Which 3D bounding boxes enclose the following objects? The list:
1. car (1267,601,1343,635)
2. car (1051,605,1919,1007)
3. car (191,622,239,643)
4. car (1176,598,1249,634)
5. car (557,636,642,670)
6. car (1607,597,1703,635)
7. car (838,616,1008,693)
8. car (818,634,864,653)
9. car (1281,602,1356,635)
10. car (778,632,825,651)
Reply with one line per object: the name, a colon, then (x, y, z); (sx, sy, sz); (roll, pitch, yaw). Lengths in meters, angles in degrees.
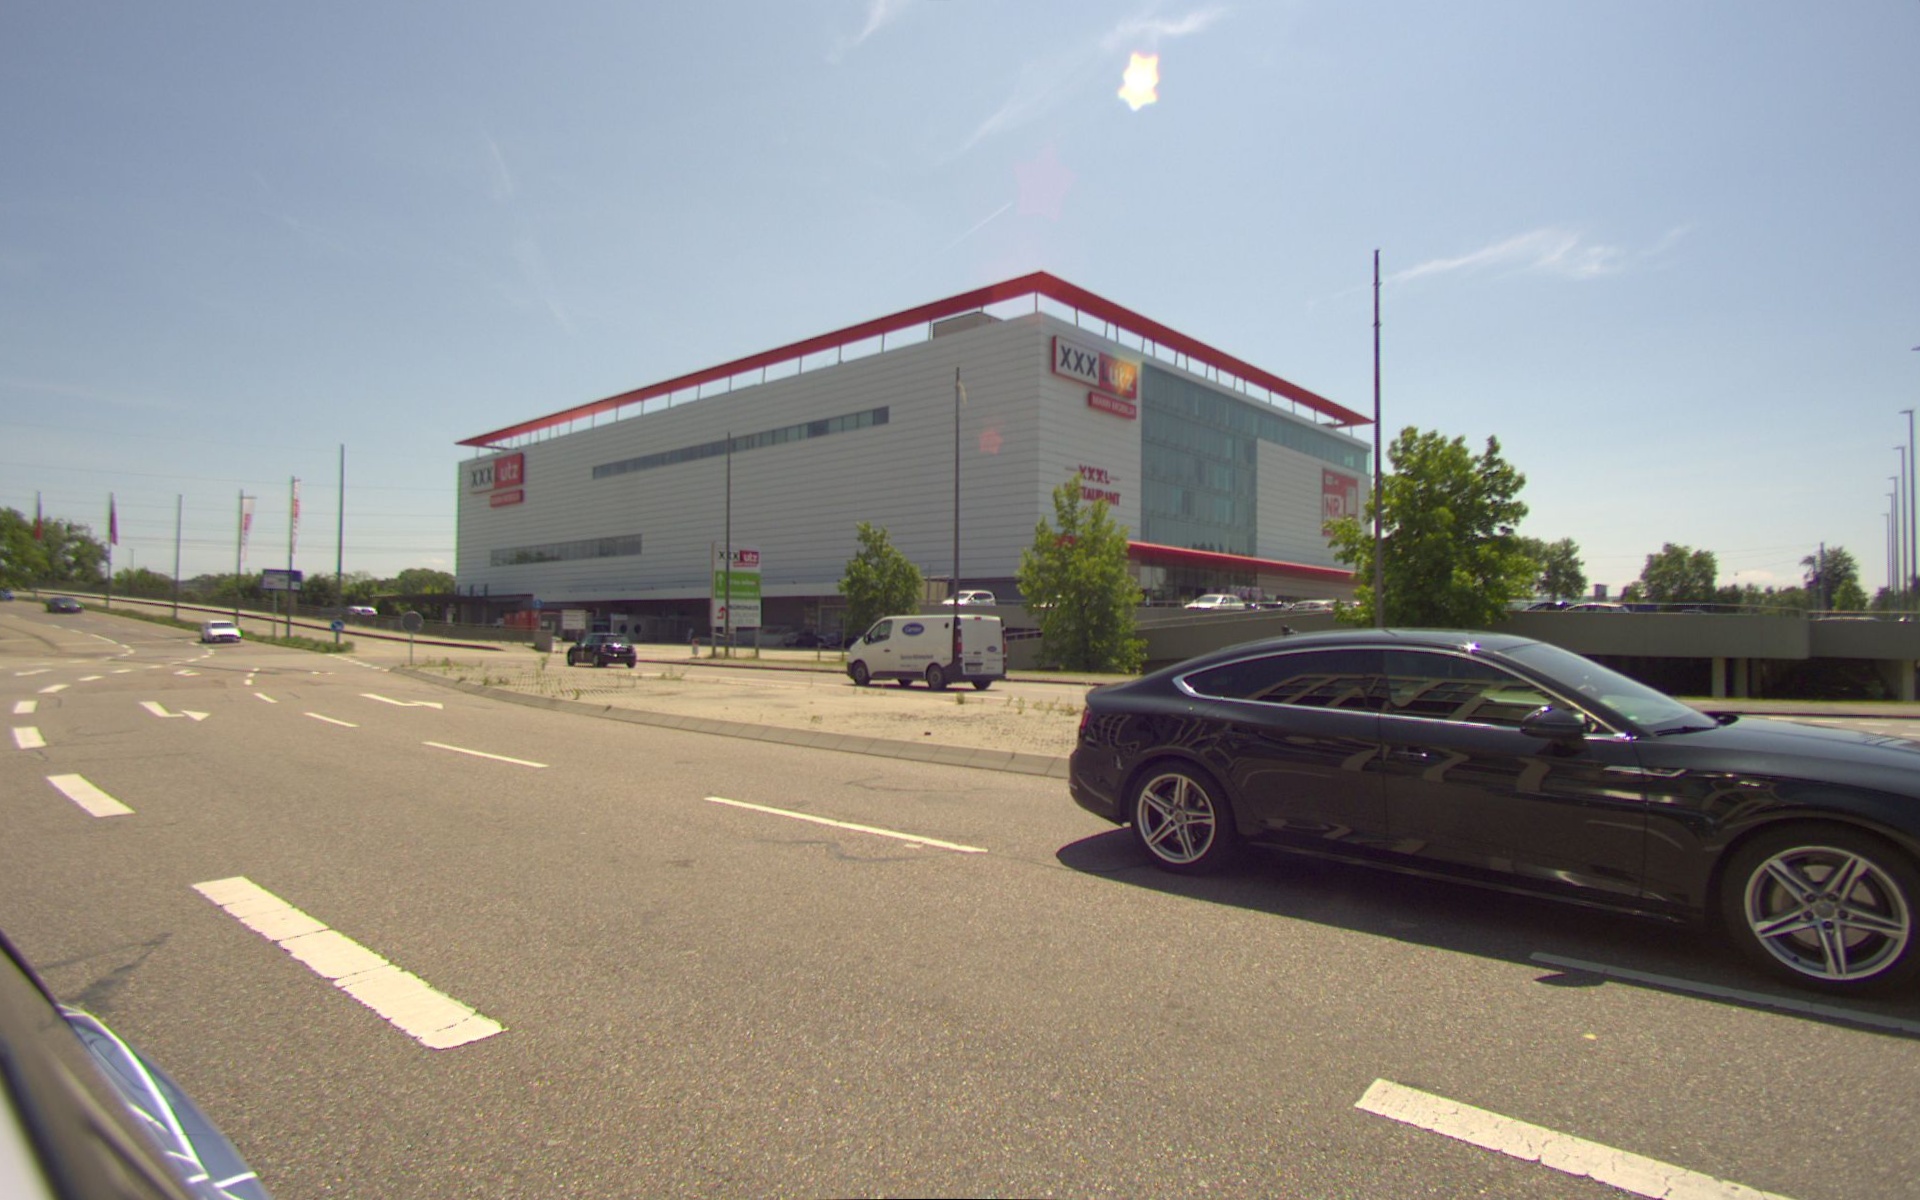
car: (21.163, 1.097, 62.199); (3.998, 2.029, 1.972); (-1, -3, 41)
car: (2.803, 0.775, 5.211); (4.532, 1.401, 1.729); (-2, -2, 42)
car: (-51.772, 2.275, 70.333); (4.226, 1.461, 1.713); (-2, -3, 40)
car: (13.442, 0.862, 53.718); (2.000, 1.781, 4.141); (-1, -3, 43)
car: (-14.899, 2.166, 41.759); (1.834, 1.312, 3.896); (4, -4, -44)
car: (36.104, 0.869, 52.634); (3.994, 1.923, 1.974); (-1, -3, 38)
car: (-1.081, 1.407, 27.172); (1.809, 1.864, 4.844); (2, -3, -44)
car: (-10.094, 3.684, 85.711); (1.958, 1.507, 3.437); (-1, -3, 41)
car: (22.608, 1.174, 63.891); (3.998, 2.029, 1.972); (-1, -3, 41)
car: (-13.936, 3.656, 89.018); (1.910, 1.632, 3.699); (-1, -2, 40)
